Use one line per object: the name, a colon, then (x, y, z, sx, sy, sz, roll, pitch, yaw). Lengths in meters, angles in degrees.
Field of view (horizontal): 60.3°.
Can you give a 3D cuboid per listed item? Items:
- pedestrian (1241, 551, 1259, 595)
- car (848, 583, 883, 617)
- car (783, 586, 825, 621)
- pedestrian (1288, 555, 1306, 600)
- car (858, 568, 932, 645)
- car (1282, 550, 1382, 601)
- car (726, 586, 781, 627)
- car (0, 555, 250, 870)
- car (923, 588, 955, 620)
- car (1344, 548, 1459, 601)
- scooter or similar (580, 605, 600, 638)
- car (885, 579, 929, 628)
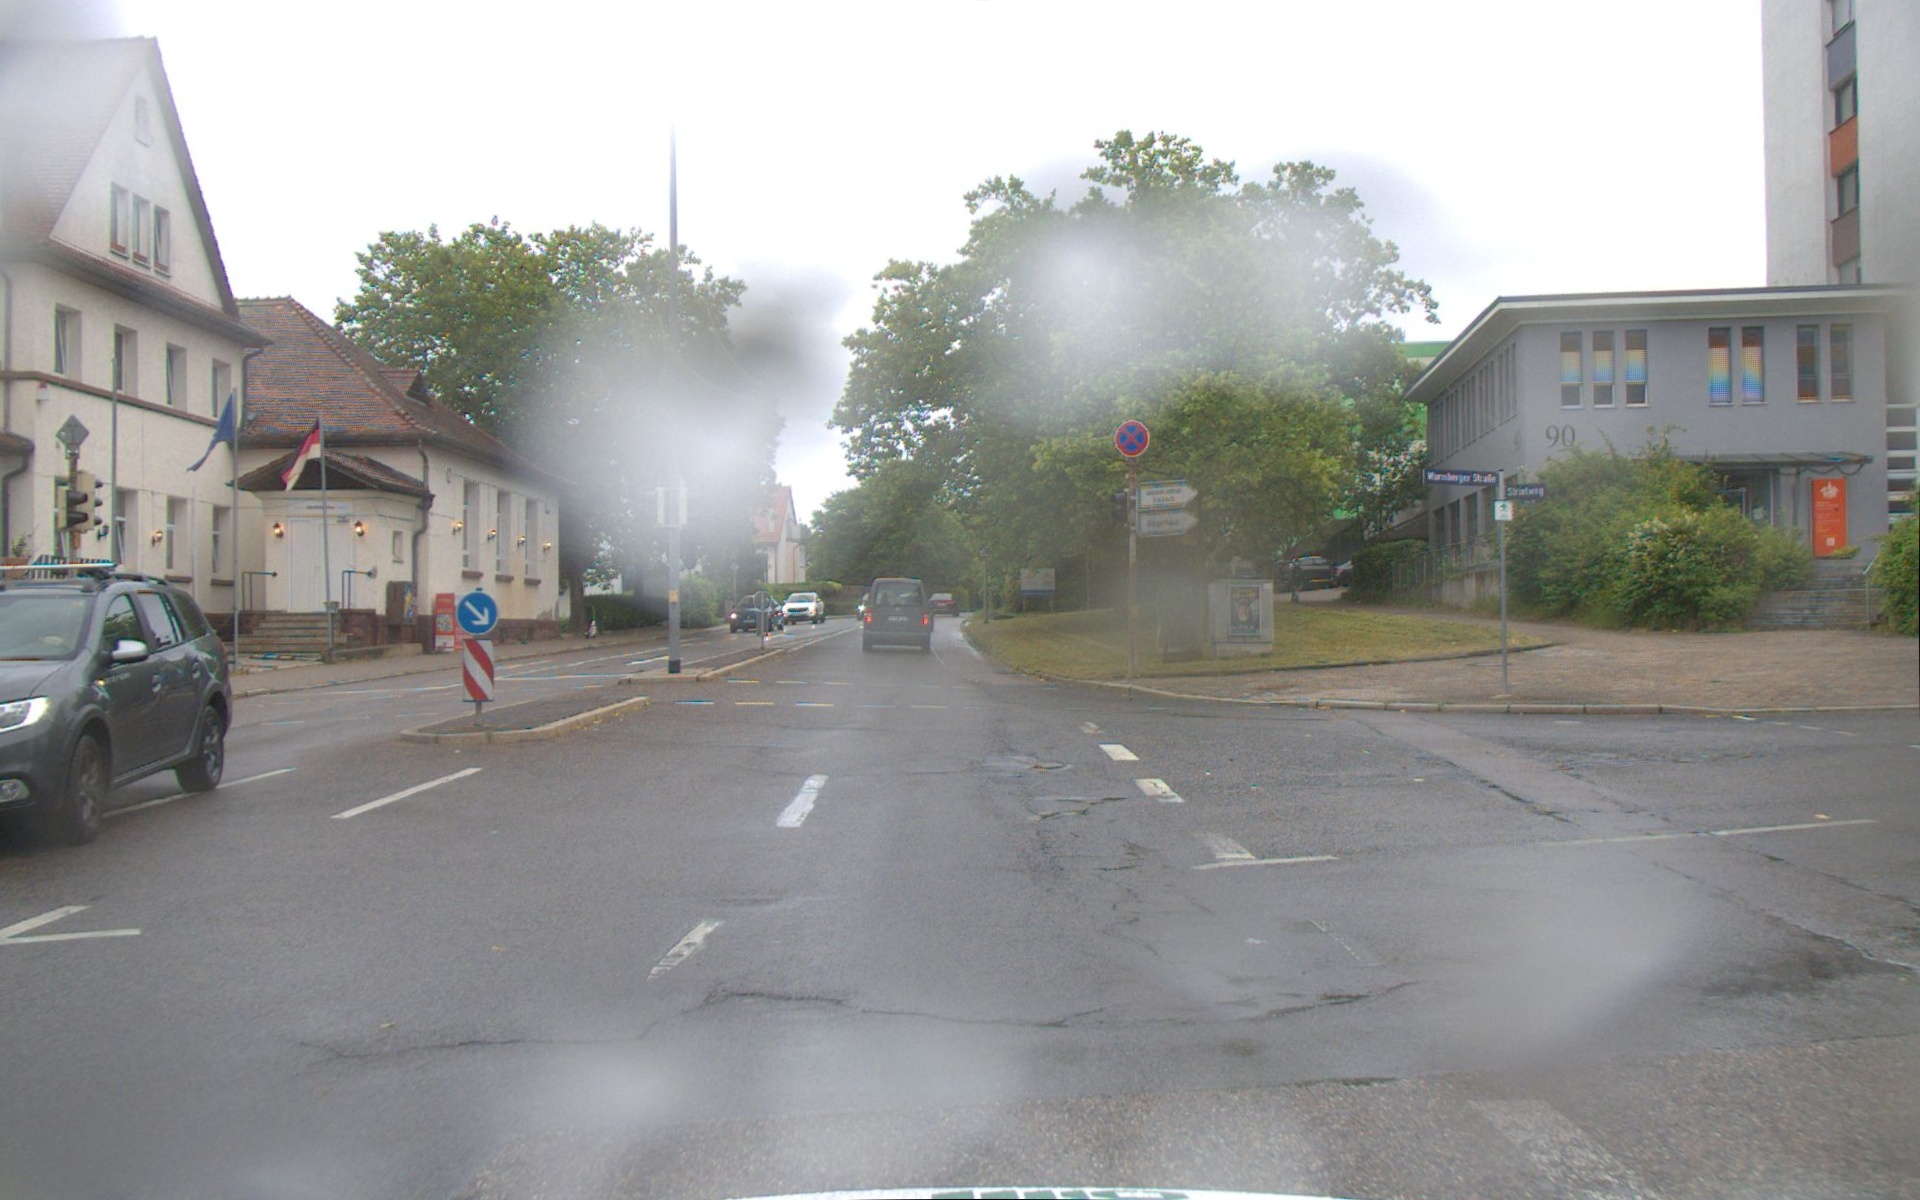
pedestrian: (12.156, -1.124, 69.404, 0.546, 1.794, 0.728, 1, 0, -3)
car: (-5.110, -0.019, 89.643, 1.712, 1.700, 3.707, -1, 1, -1)
car: (-7.969, 0.159, 84.581, 1.792, 1.700, 4.051, -1, 1, -1)
pedestrian: (12.502, -0.838, 61.446, 0.588, 1.645, 0.526, 1, 0, 8)
car: (-1.641, 0.166, 42.596, 1.776, 1.840, 3.755, 1, 0, -2)
car: (15.354, -1.003, 68.435, 3.902, 1.964, 2.002, 1, 0, 11)
car: (-8.392, 0.252, 67.584, 1.756, 1.554, 4.208, -1, 1, -1)
car: (-6.054, 0.544, 10.503, 1.864, 1.604, 4.491, -1, 1, -11)
car: (-1.317, 0.244, 104.403, 1.953, 1.914, 3.999, 1, 0, -1)
car: (16.290, -0.940, 61.193, 3.902, 1.847, 2.002, 1, 0, 9)
scooter or similar: (-12.345, 0.708, 55.256, 0.382, 1.083, 1.409, 1, 0, -3)
car: (-2.085, 0.145, 65.301, 1.670, 1.840, 3.683, 1, 0, -2)
